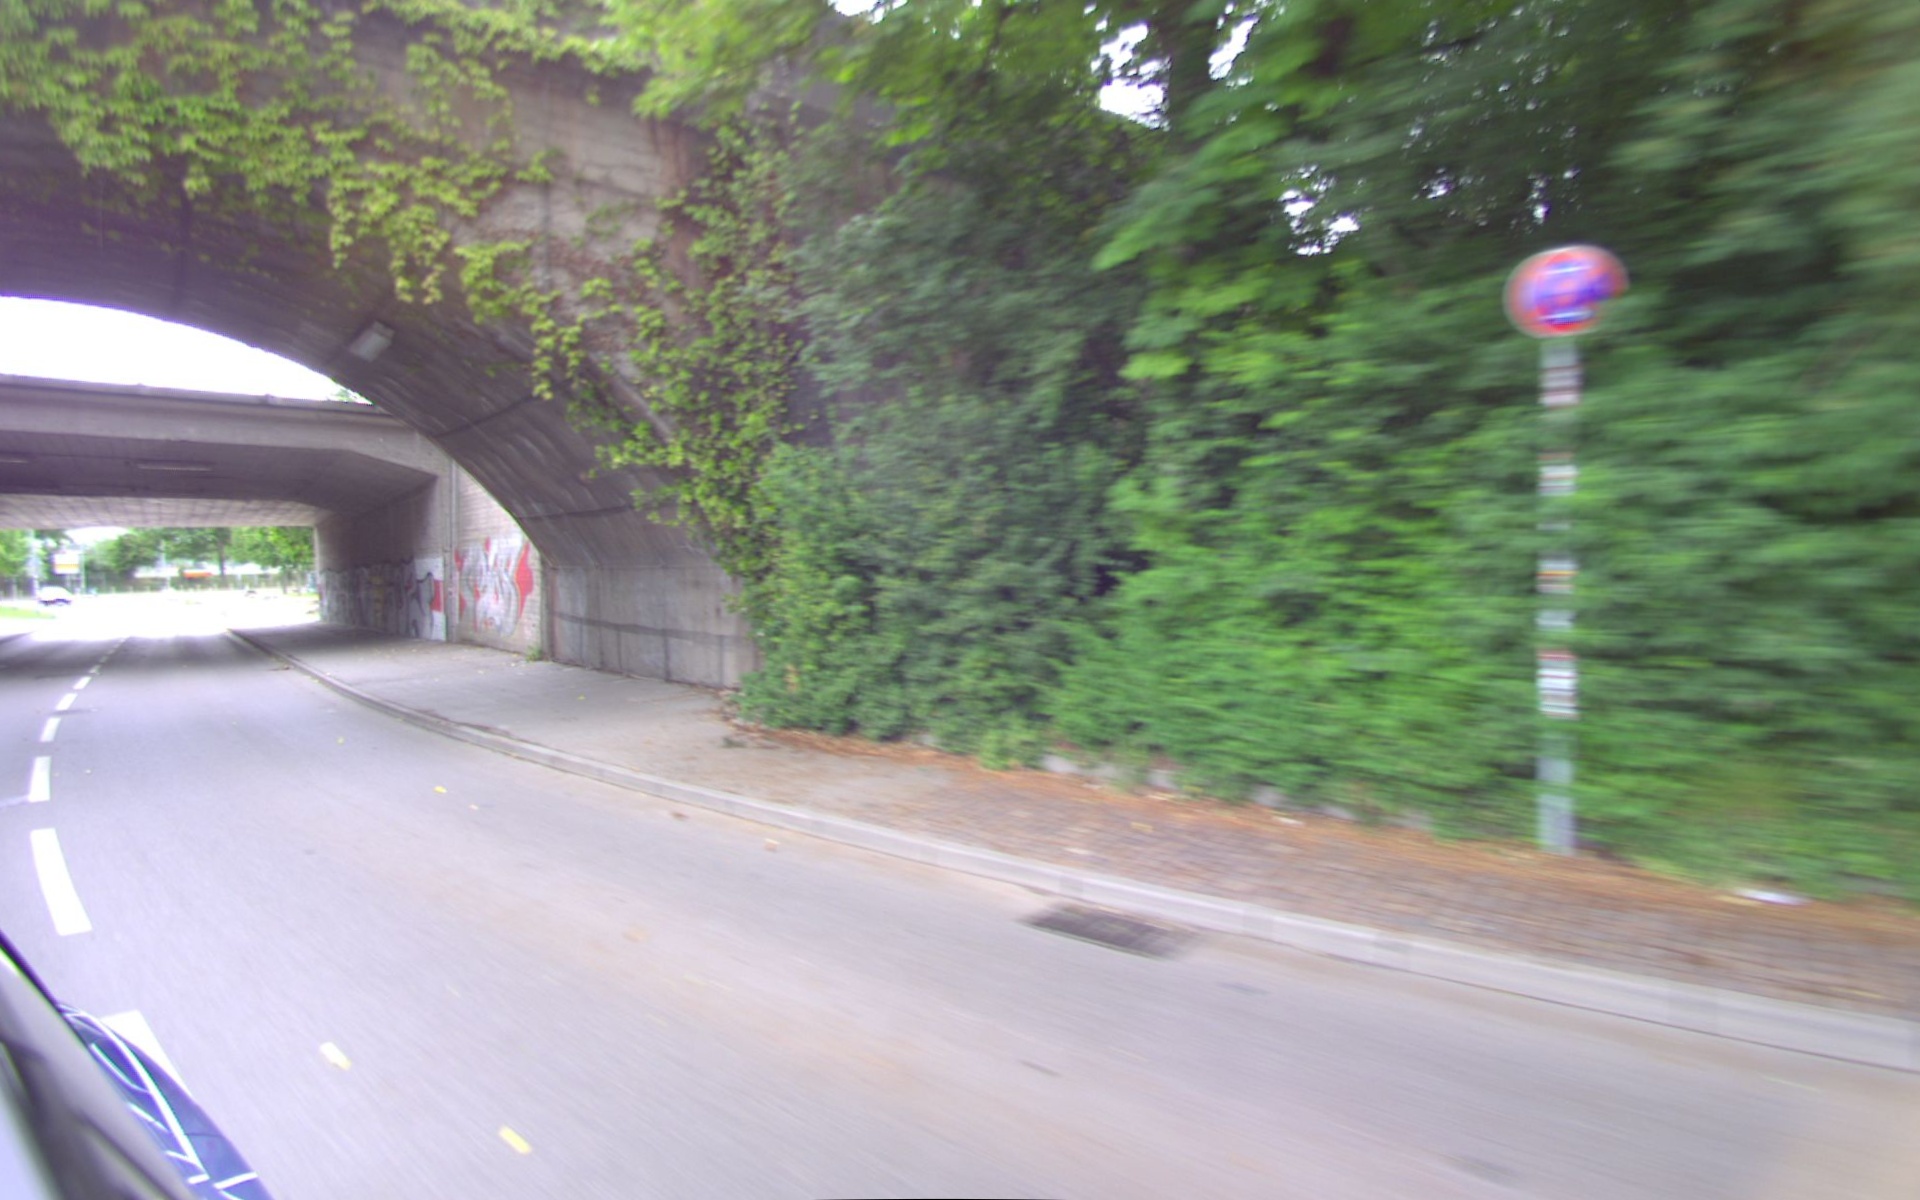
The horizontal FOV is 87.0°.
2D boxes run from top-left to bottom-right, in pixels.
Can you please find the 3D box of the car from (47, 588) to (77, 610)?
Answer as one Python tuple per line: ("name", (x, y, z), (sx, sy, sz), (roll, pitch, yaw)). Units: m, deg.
("car", (-73.270, -0.086, 82.572), (1.780, 1.622, 4.182), (0, 2, -42))
